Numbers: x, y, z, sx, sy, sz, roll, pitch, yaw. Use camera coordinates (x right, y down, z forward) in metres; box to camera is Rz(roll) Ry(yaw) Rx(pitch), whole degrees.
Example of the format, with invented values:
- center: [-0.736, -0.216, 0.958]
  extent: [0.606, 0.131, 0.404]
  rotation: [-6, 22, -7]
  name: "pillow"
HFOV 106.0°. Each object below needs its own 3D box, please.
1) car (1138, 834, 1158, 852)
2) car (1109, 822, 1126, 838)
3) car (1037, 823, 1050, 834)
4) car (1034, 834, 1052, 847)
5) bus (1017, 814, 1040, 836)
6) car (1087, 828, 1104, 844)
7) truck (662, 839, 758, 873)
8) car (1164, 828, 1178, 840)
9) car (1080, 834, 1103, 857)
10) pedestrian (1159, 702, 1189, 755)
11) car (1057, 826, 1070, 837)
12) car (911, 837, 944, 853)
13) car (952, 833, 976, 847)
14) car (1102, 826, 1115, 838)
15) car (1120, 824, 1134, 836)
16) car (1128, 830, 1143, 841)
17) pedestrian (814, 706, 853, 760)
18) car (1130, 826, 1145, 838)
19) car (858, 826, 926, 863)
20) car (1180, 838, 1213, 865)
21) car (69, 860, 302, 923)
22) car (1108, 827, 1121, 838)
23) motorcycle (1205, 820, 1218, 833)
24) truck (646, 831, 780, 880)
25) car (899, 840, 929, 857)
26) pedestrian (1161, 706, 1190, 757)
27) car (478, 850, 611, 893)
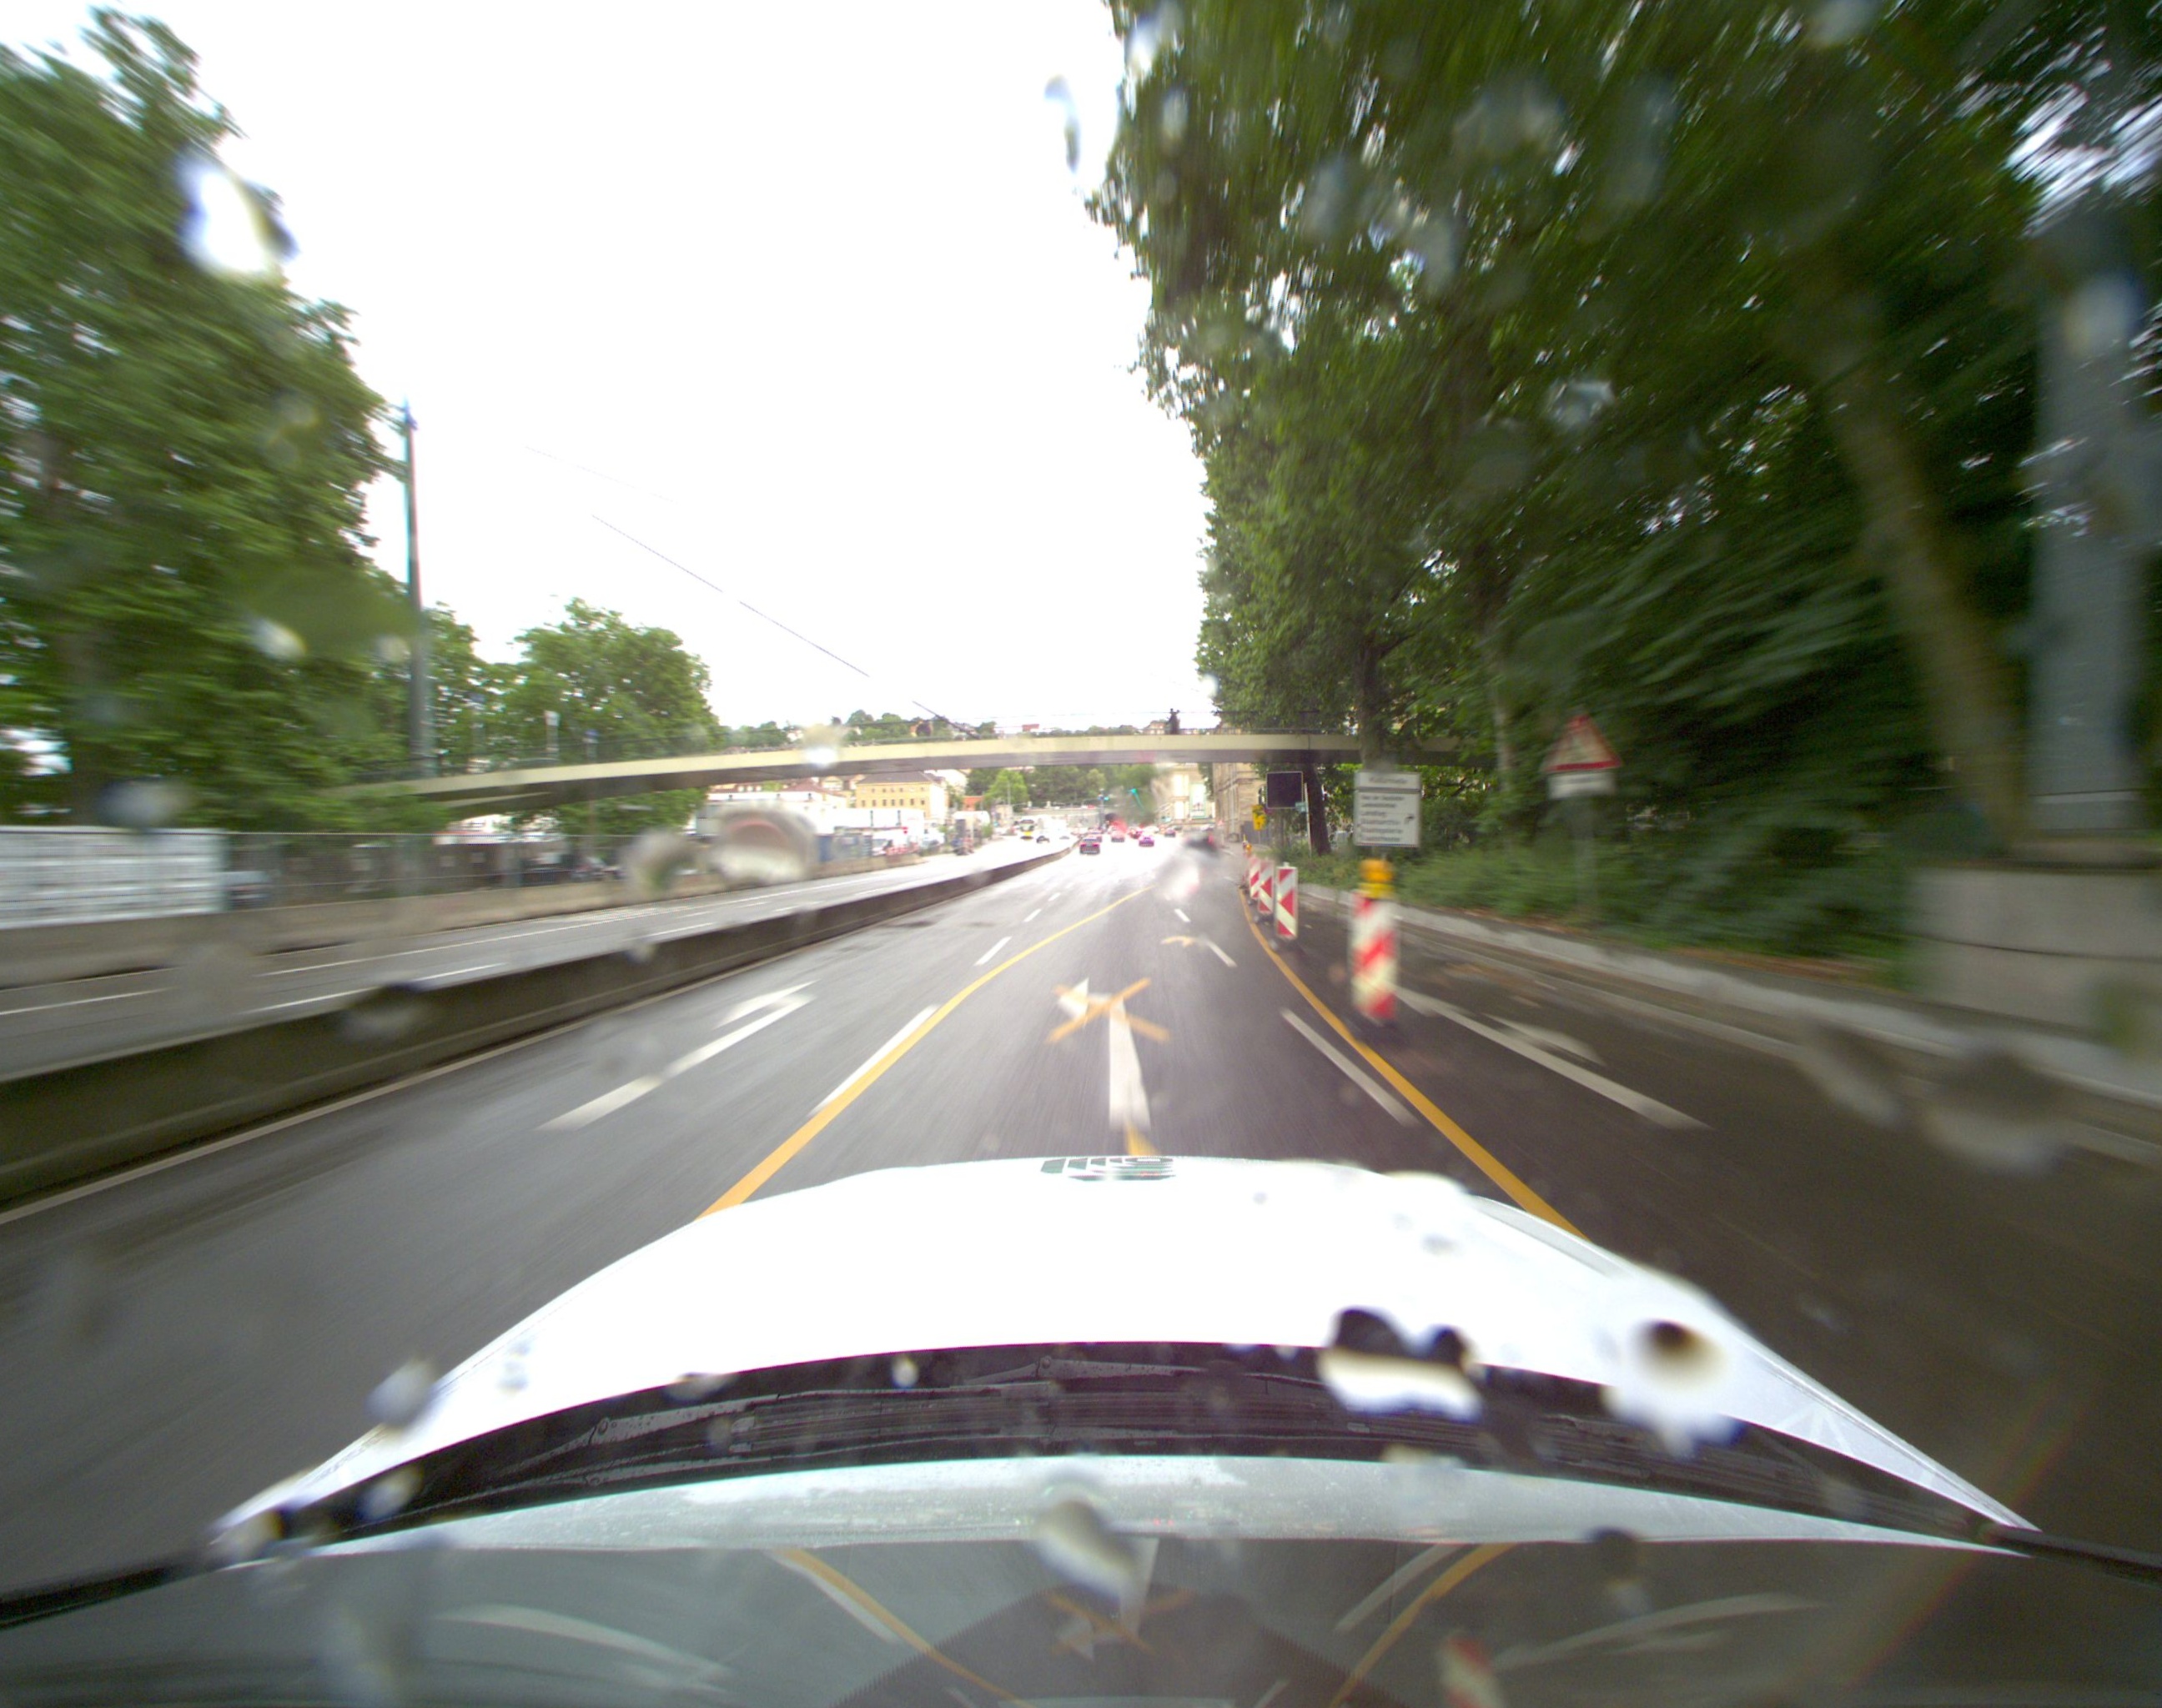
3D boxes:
- center: [7.875, -1.268, 96.709]
  extent: [2.097, 2.050, 4.002]
  rotation: [-2, 0, 2]
  name: "car"
- center: [5.008, -3.225, 112.025]
  extent: [2.044, 2.013, 4.000]
  rotation: [-2, 0, 1]
  name: "car"
- center: [-6.487, -4.365, 142.076]
  extent: [2.032, 1.662, 4.932]
  rotation: [-2, 0, 0]
  name: "car"
- center: [-5.182, -1.872, 110.642]
  extent: [2.074, 1.630, 4.854]
  rotation: [-2, 1, 1]
  name: "car"
- center: [-8.283, -4.541, 129.619]
  extent: [2.796, 3.184, 8.811]
  rotation: [-2, 1, 2]
  name: "bus"
- center: [2.024, -2.471, 110.403]
  extent: [1.984, 2.013, 4.005]
  rotation: [-2, 0, 4]
  name: "car"
- center: [-24.579, 0.111, 54.068]
  extent: [5.235, 2.013, 2.162]
  rotation: [-2, 1, -3]
  name: "truck"
- center: [15.224, -3.353, 137.481]
  extent: [1.986, 2.013, 4.001]
  rotation: [-1, 1, 1]
  name: "car"
- center: [0.982, -0.755, 75.951]
  extent: [2.009, 2.013, 4.002]
  rotation: [-2, 0, 2]
  name: "car"
- center: [4.048, -5.433, 35.324]
  extent: [1.141, 2.060, 1.062]
  rotation: [-2, 0, 9]
  name: "pedestrian"
- center: [-2.619, -3.420, 125.074]
  extent: [1.702, 1.489, 3.453]
  rotation: [-2, 0, 3]
  name: "car"
- center: [-16.388, -0.934, 87.074]
  extent: [1.750, 1.565, 4.697]
  rotation: [-2, 0, 11]
  name: "car"
- center: [-14.445, -1.767, 100.624]
  extent: [1.984, 1.621, 4.007]
  rotation: [-2, 2, 5]
  name: "car"
- center: [4.409, -3.540, 131.312]
  extent: [1.987, 1.869, 4.000]
  rotation: [-2, 0, 0]
  name: "car"
- center: [8.343, -4.271, 148.040]
  extent: [1.988, 2.013, 3.998]
  rotation: [-2, 1, -2]
  name: "car"
- center: [8.815, -2.983, 132.208]
  extent: [1.987, 1.698, 3.999]
  rotation: [-2, 0, 0]
  name: "car"
- center: [-10.513, -5.121, 34.654]
  extent: [1.141, 2.060, 1.062]
  rotation: [-2, 0, 9]
  name: "pedestrian"
- center: [8.771, -3.433, 125.995]
  extent: [1.987, 1.698, 3.999]
  rotation: [-2, 0, 0]
  name: "car"
- center: [-15.972, -0.831, 69.223]
  extent: [1.974, 2.875, 6.090]
  rotation: [-2, 0, 29]
  name: "car"
- center: [6.940, -0.167, 48.974]
  extent: [1.802, 1.527, 4.009]
  rotation: [-3, 0, 7]
  name: "car"
- center: [-23.896, 0.965, 21.855]
  extent: [3.973, 1.443, 2.000]
  rotation: [-2, 0, 0]
  name: "car"
- center: [6.637, -4.274, 162.134]
  extent: [2.285, 2.013, 4.603]
  rotation: [-2, 0, 0]
  name: "car"
- center: [21.369, -4.526, 133.416]
  extent: [1.786, 2.013, 3.820]
  rotation: [-2, 2, 5]
  name: "motorcycle"
- center: [-20.721, 0.084, 46.186]
  extent: [6.268, 2.452, 2.689]
  rotation: [-2, 0, -6]
  name: "truck"
- center: [-16.809, -0.561, 82.056]
  extent: [1.753, 1.565, 4.181]
  rotation: [-2, 2, 5]
  name: "car"
- center: [4.219, -5.457, 36.350]
  extent: [1.141, 2.060, 1.062]
  rotation: [-2, 0, 9]
  name: "pedestrian"
- center: [-23.798, 0.751, 36.283]
  extent: [4.419, 1.627, 1.954]
  rotation: [-2, 1, -7]
  name: "car"
